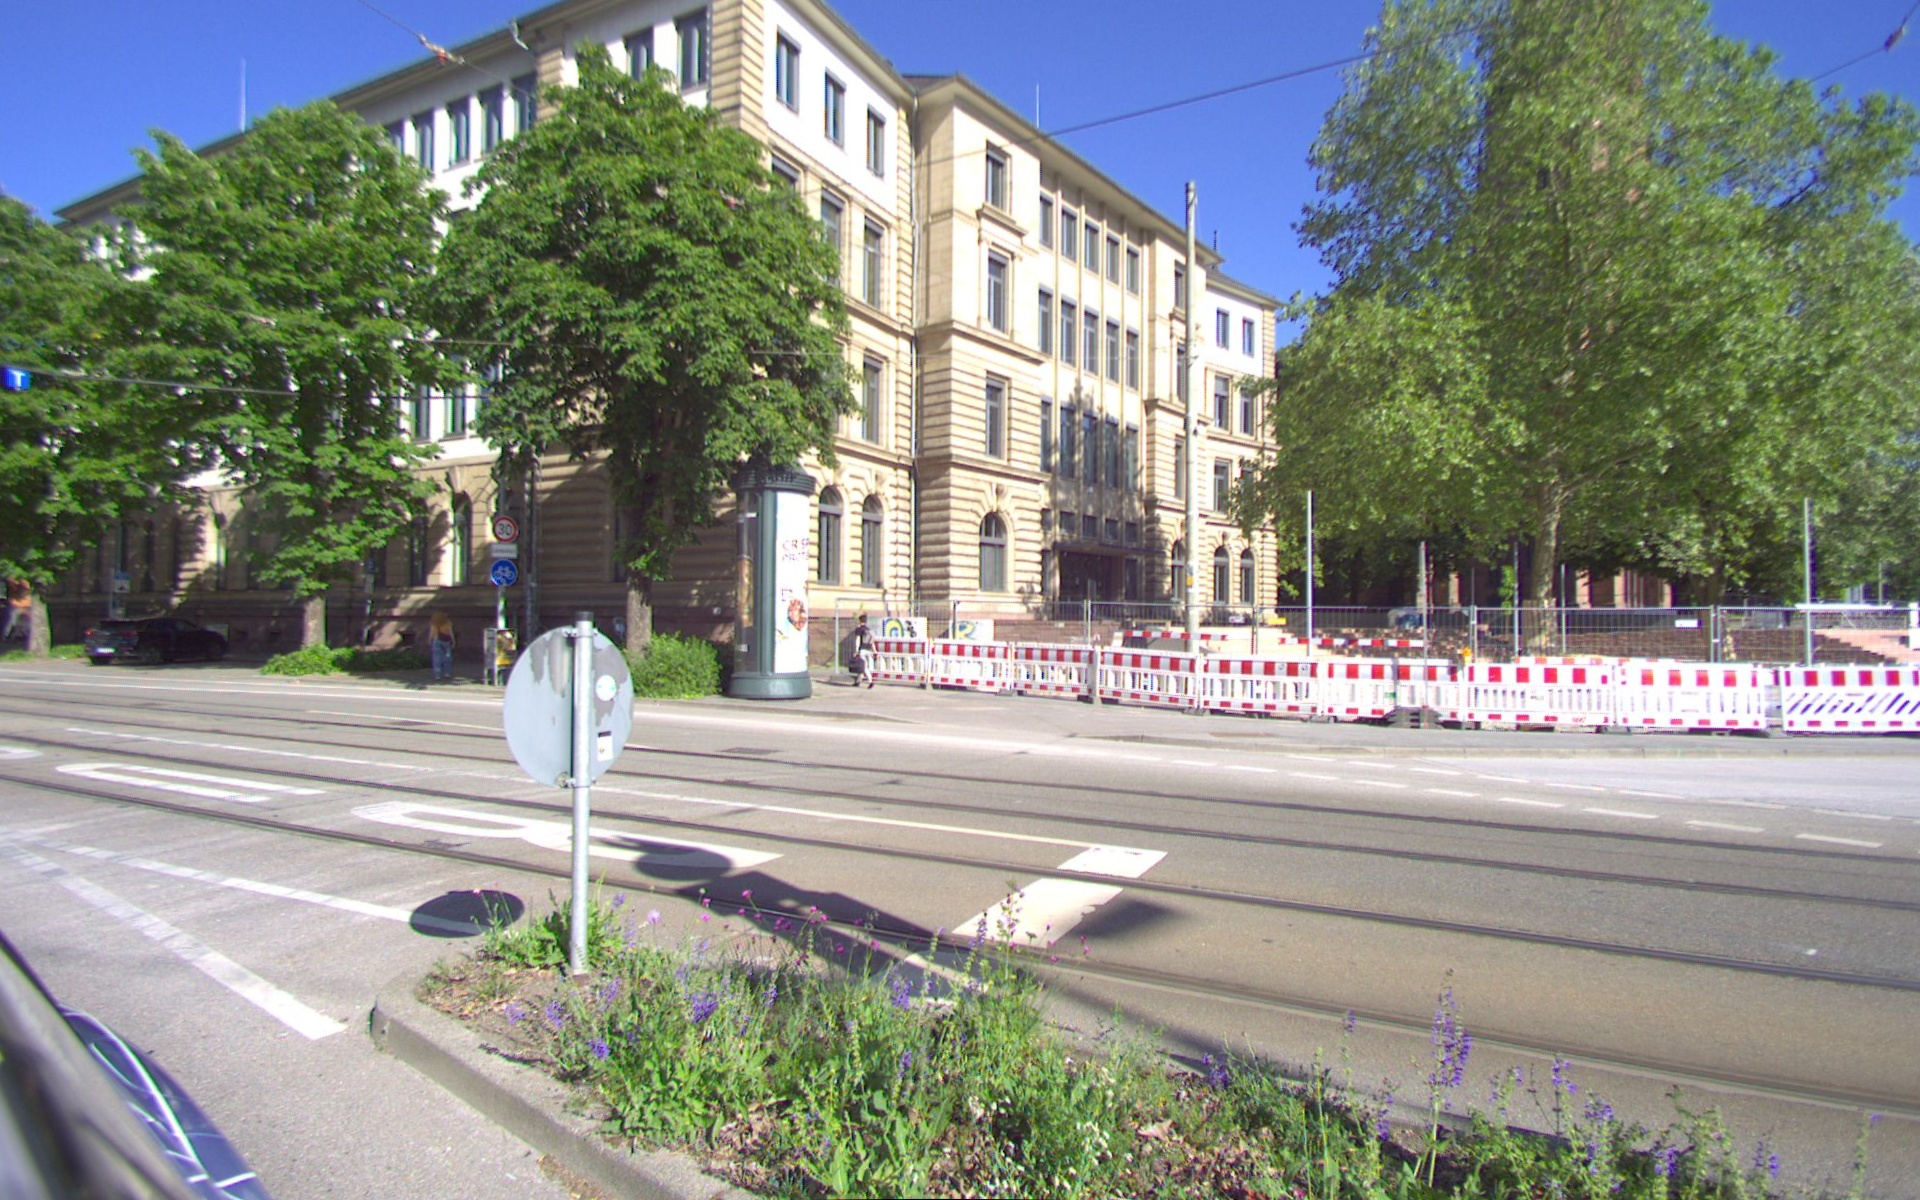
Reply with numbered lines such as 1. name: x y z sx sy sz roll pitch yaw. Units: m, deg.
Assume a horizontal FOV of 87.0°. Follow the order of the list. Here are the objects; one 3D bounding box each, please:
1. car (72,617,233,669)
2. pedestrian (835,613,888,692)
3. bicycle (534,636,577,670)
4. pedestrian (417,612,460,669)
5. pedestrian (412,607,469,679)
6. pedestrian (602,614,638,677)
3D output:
1. car: -26.035 1.364 32.819 1.895 1.586 4.108 0 -2 1
2. pedestrian: -2.189 1.147 22.495 0.845 1.682 0.720 2 0 39
3. bicycle: -11.603 1.512 29.026 1.356 0.910 0.394 0 0 31
4. pedestrian: -15.219 1.167 29.547 0.671 1.578 0.849 0 2 33
5. pedestrian: -12.677 1.059 24.714 0.764 1.682 1.029 -3 -5 13
6. pedestrian: -8.652 1.144 25.768 0.651 1.574 0.573 -1 -2 29
